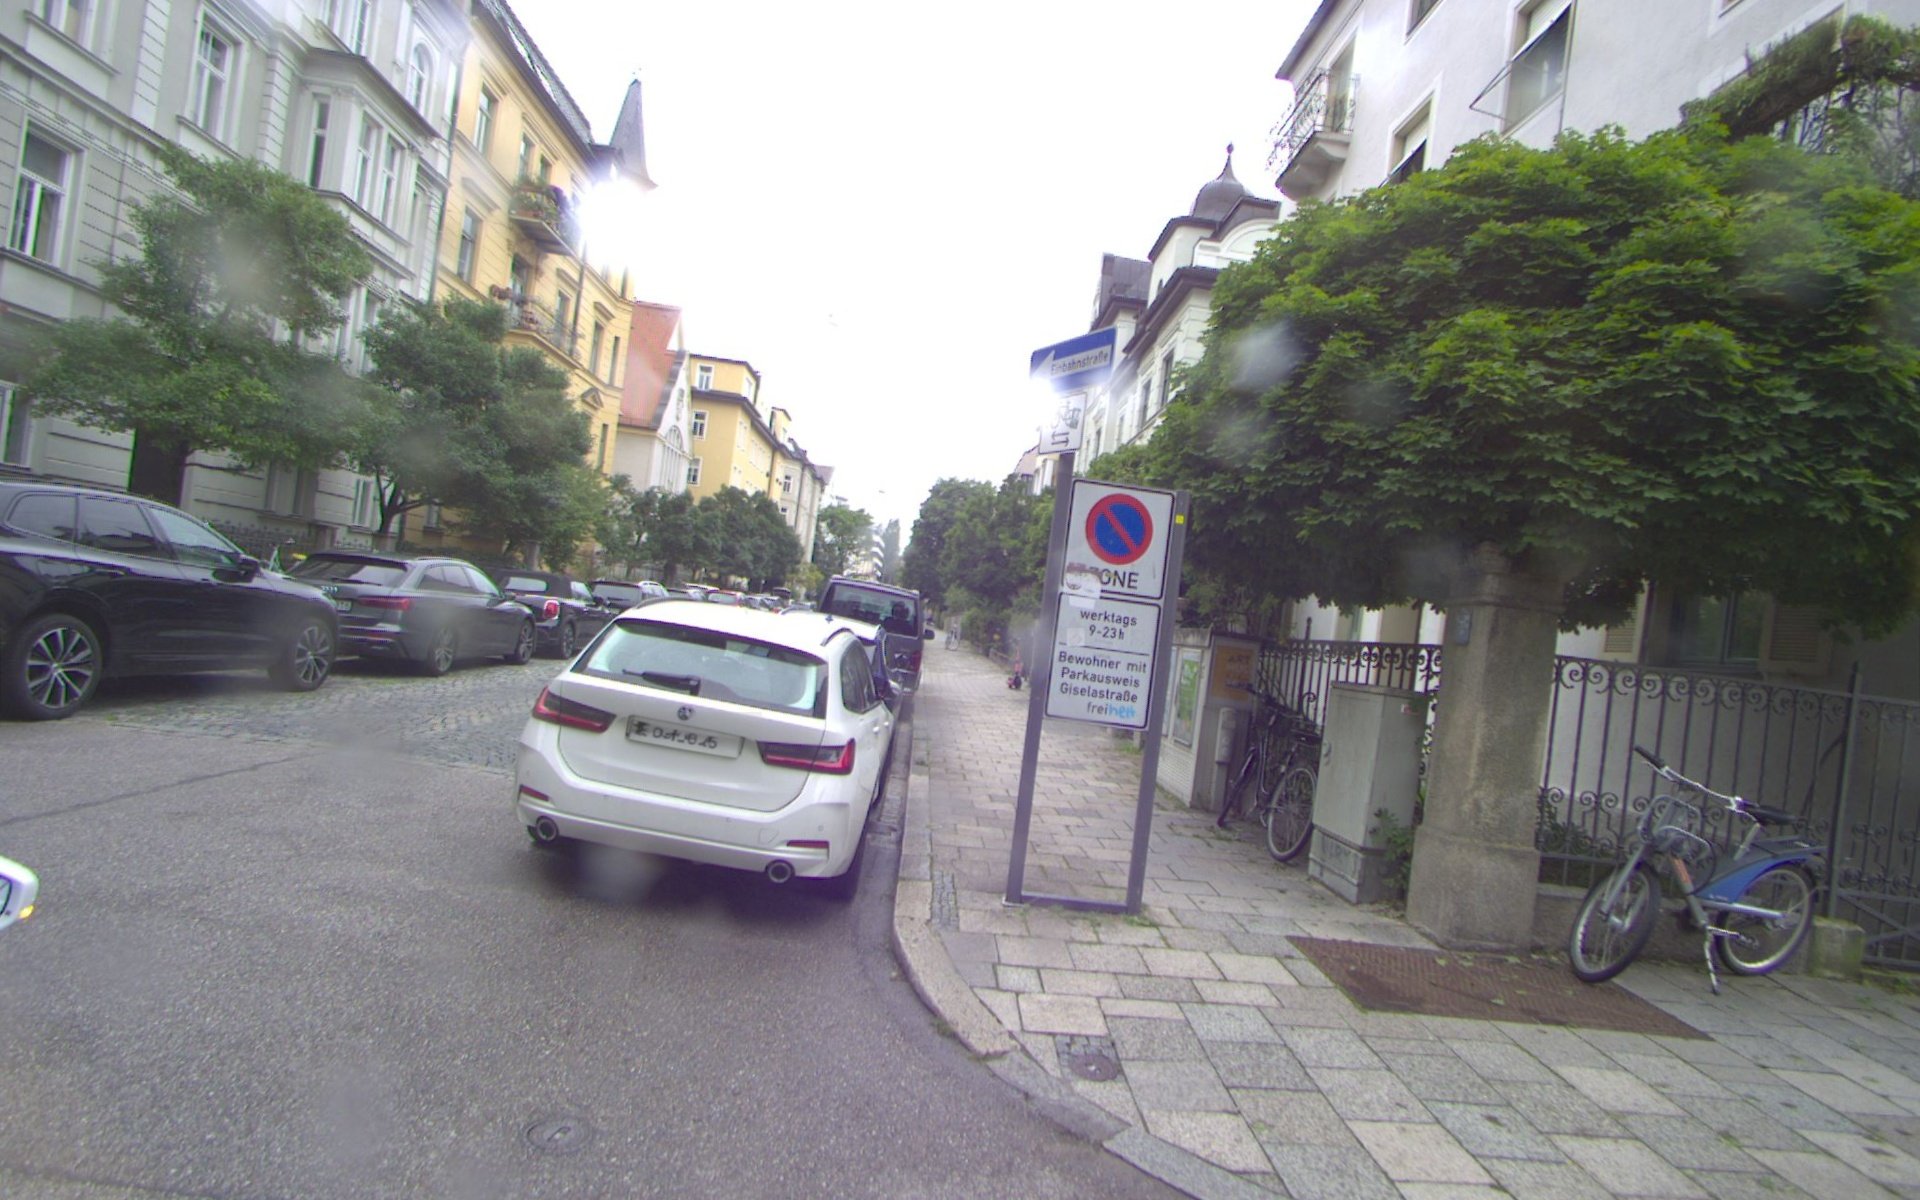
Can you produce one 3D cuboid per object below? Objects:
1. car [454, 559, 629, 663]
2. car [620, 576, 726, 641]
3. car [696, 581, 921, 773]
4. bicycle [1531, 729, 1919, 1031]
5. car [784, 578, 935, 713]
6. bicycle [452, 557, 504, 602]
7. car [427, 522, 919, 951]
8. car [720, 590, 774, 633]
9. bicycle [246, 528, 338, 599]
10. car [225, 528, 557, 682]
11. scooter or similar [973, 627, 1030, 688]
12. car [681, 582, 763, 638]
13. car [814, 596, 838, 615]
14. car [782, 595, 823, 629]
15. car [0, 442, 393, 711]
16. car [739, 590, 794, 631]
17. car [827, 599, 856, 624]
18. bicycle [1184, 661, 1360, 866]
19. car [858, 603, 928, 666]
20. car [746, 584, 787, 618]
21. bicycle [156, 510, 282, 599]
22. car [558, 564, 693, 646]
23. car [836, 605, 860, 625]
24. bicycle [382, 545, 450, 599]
[{"bbox_3d":[-7.413,0.199,18.211,1.678,1.535,3.725,6,-1,-4],"label":"car"},{"bbox_3d":[-7.985,0.266,28.356,1.892,1.565,4.000,4,-1,-3],"label":"car"},{"bbox_3d":[-1.551,0.789,11.922,1.901,1.523,4.875,9,-2,-3],"label":"car"},{"bbox_3d":[3.940,1.399,5.092,1.746,1.240,0.543,7,0,-8],"label":"bicycle"},{"bbox_3d":[-1.563,0.688,17.102,1.992,1.710,4.849,8,-1,-2],"label":"car"},{"bbox_3d":[-12.532,-0.516,26.214,0.412,1.039,1.765,9,-1,-2],"label":"bicycle"},{"bbox_3d":[-1.337,0.629,6.820,1.880,1.549,4.921,10,-1,-2],"label":"car"},{"bbox_3d":[-8.075,0.473,38.350,1.409,1.478,2.651,4,-1,-1],"label":"car"},{"bbox_3d":[-12.208,-0.636,18.445,0.357,1.146,1.887,8,-1,-3],"label":"bicycle"},{"bbox_3d":[-7.233,0.079,13.553,1.778,1.523,5.174,5,-1,-5],"label":"car"},{"bbox_3d":[1.013,1.402,24.194,0.619,1.348,1.602,5,-2,28],"label":"scooter or similar"},{"bbox_3d":[-7.939,0.364,33.853,1.892,1.655,3.806,4,-1,-2],"label":"car"},{"bbox_3d":[-12.997,0.524,97.941,1.892,1.655,3.739,4,-1,-3],"label":"car"},{"bbox_3d":[-9.134,0.690,58.619,1.894,1.654,3.738,8,-1,-5],"label":"car"},{"bbox_3d":[-7.004,-0.158,8.269,1.908,1.672,5.054,4,-1,-2],"label":"car"},{"bbox_3d":[-8.562,0.499,44.829,1.635,1.552,3.485,7,-1,0],"label":"car"},{"bbox_3d":[-9.336,0.933,79.412,1.892,1.861,3.739,4,-1,-3],"label":"car"},{"bbox_3d":[2.377,1.192,7.925,0.459,1.290,1.919,8,-2,-5],"label":"bicycle"},{"bbox_3d":[-2.141,1.127,33.189,1.894,1.653,4.047,10,-1,-1],"label":"car"},{"bbox_3d":[-11.311,0.082,59.029,1.752,1.654,3.738,8,-1,-4],"label":"car"},{"bbox_3d":[-12.016,-0.695,16.403,0.493,1.263,1.979,9,-1,-3],"label":"bicycle"},{"bbox_3d":[-7.463,0.163,22.902,1.700,1.559,4.337,4,-1,-2],"label":"car"},{"bbox_3d":[-10.243,1.392,92.358,1.892,1.655,3.739,4,-1,-3],"label":"car"},{"bbox_3d":[-12.476,-0.614,23.131,0.365,1.115,1.834,8,-1,2],"label":"bicycle"}]
